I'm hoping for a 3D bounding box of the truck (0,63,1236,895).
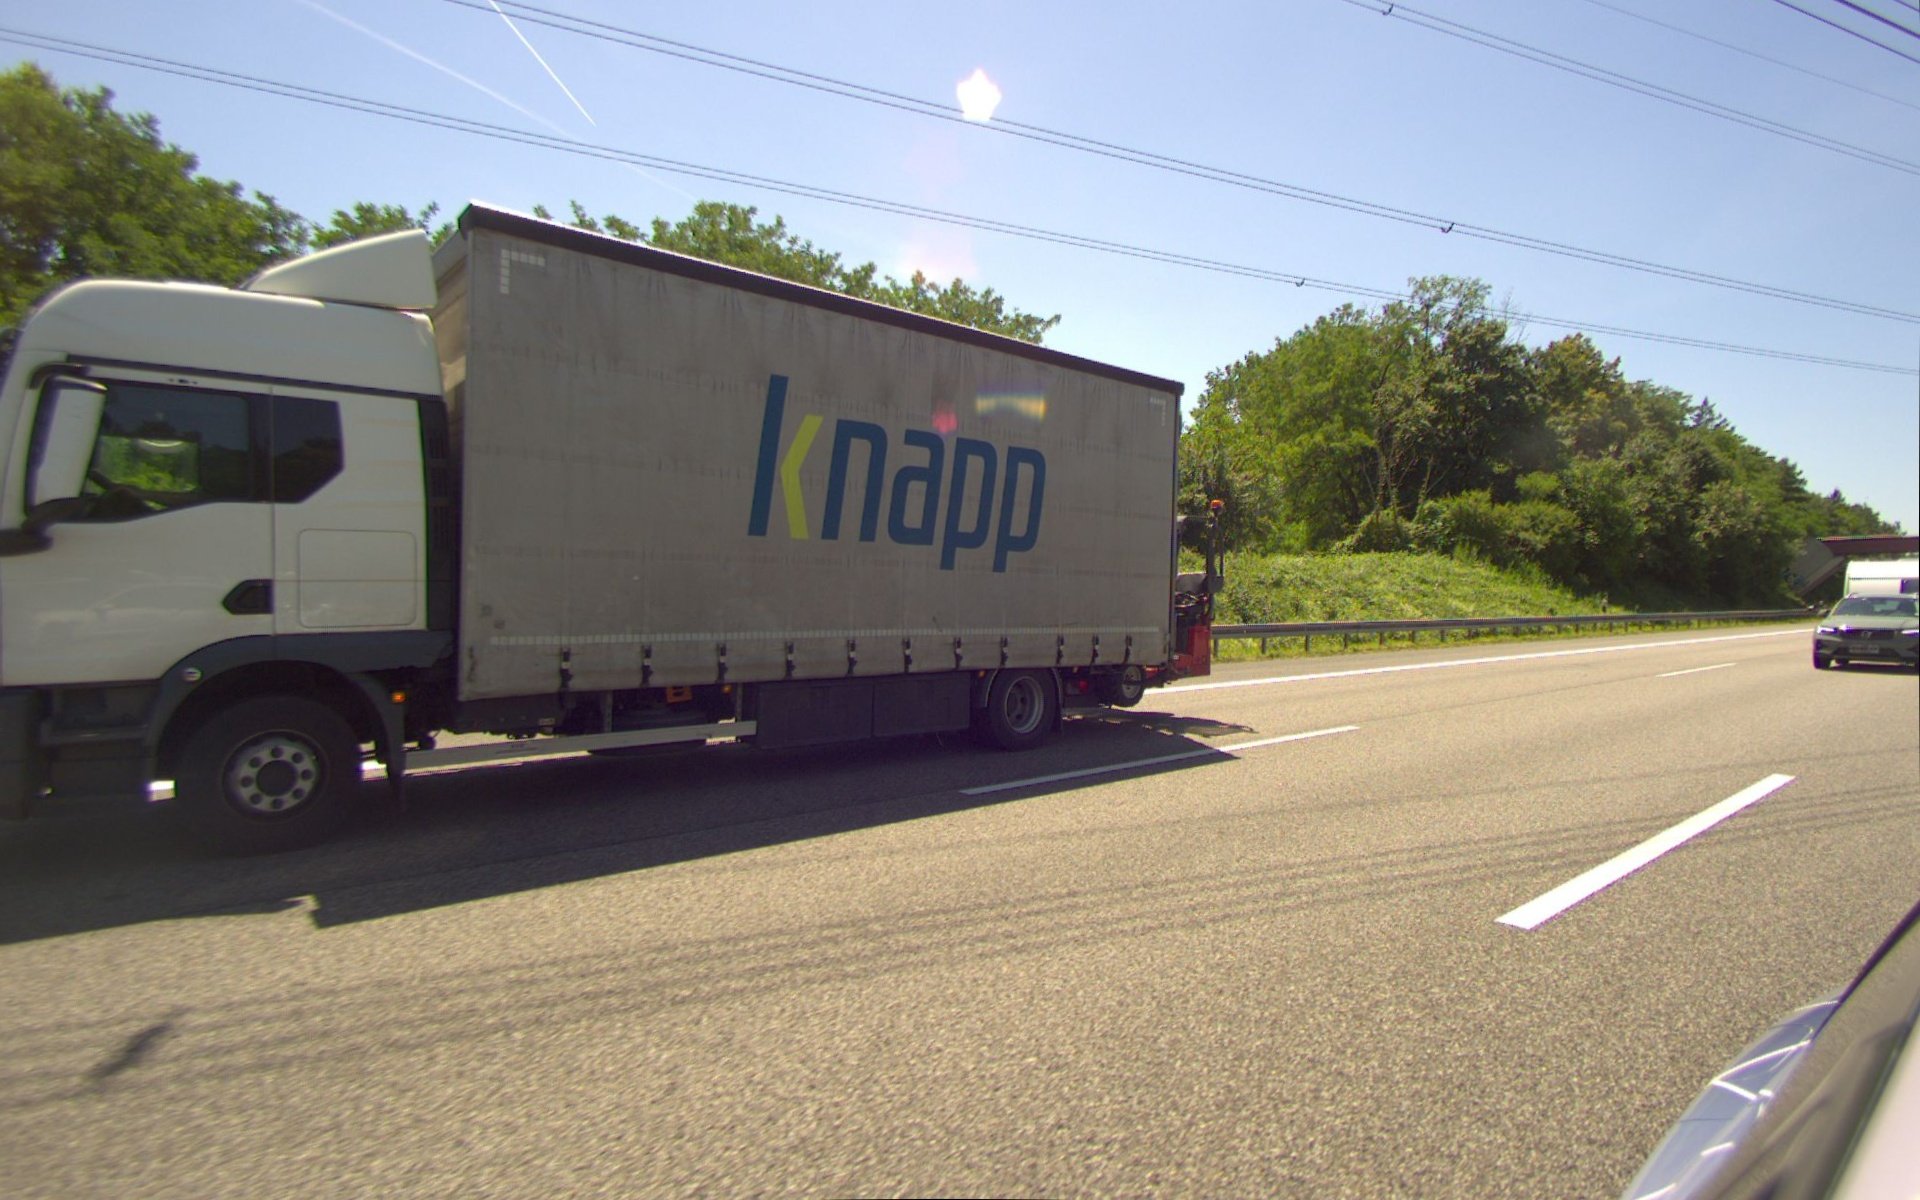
[{"bbox_3d":[-1.342,-0.582,8.626,9.867,3.819,1.986,0,0,-41],"label":"truck"}]

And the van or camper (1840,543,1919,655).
[{"bbox_3d":[23.940,-0.027,25.037,6.319,2.529,2.410,0,1,-41],"label":"van or camper"}]

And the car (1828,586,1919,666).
[{"bbox_3d":[20.056,0.503,21.572,4.033,1.549,1.786,0,1,-41],"label":"car"}]
